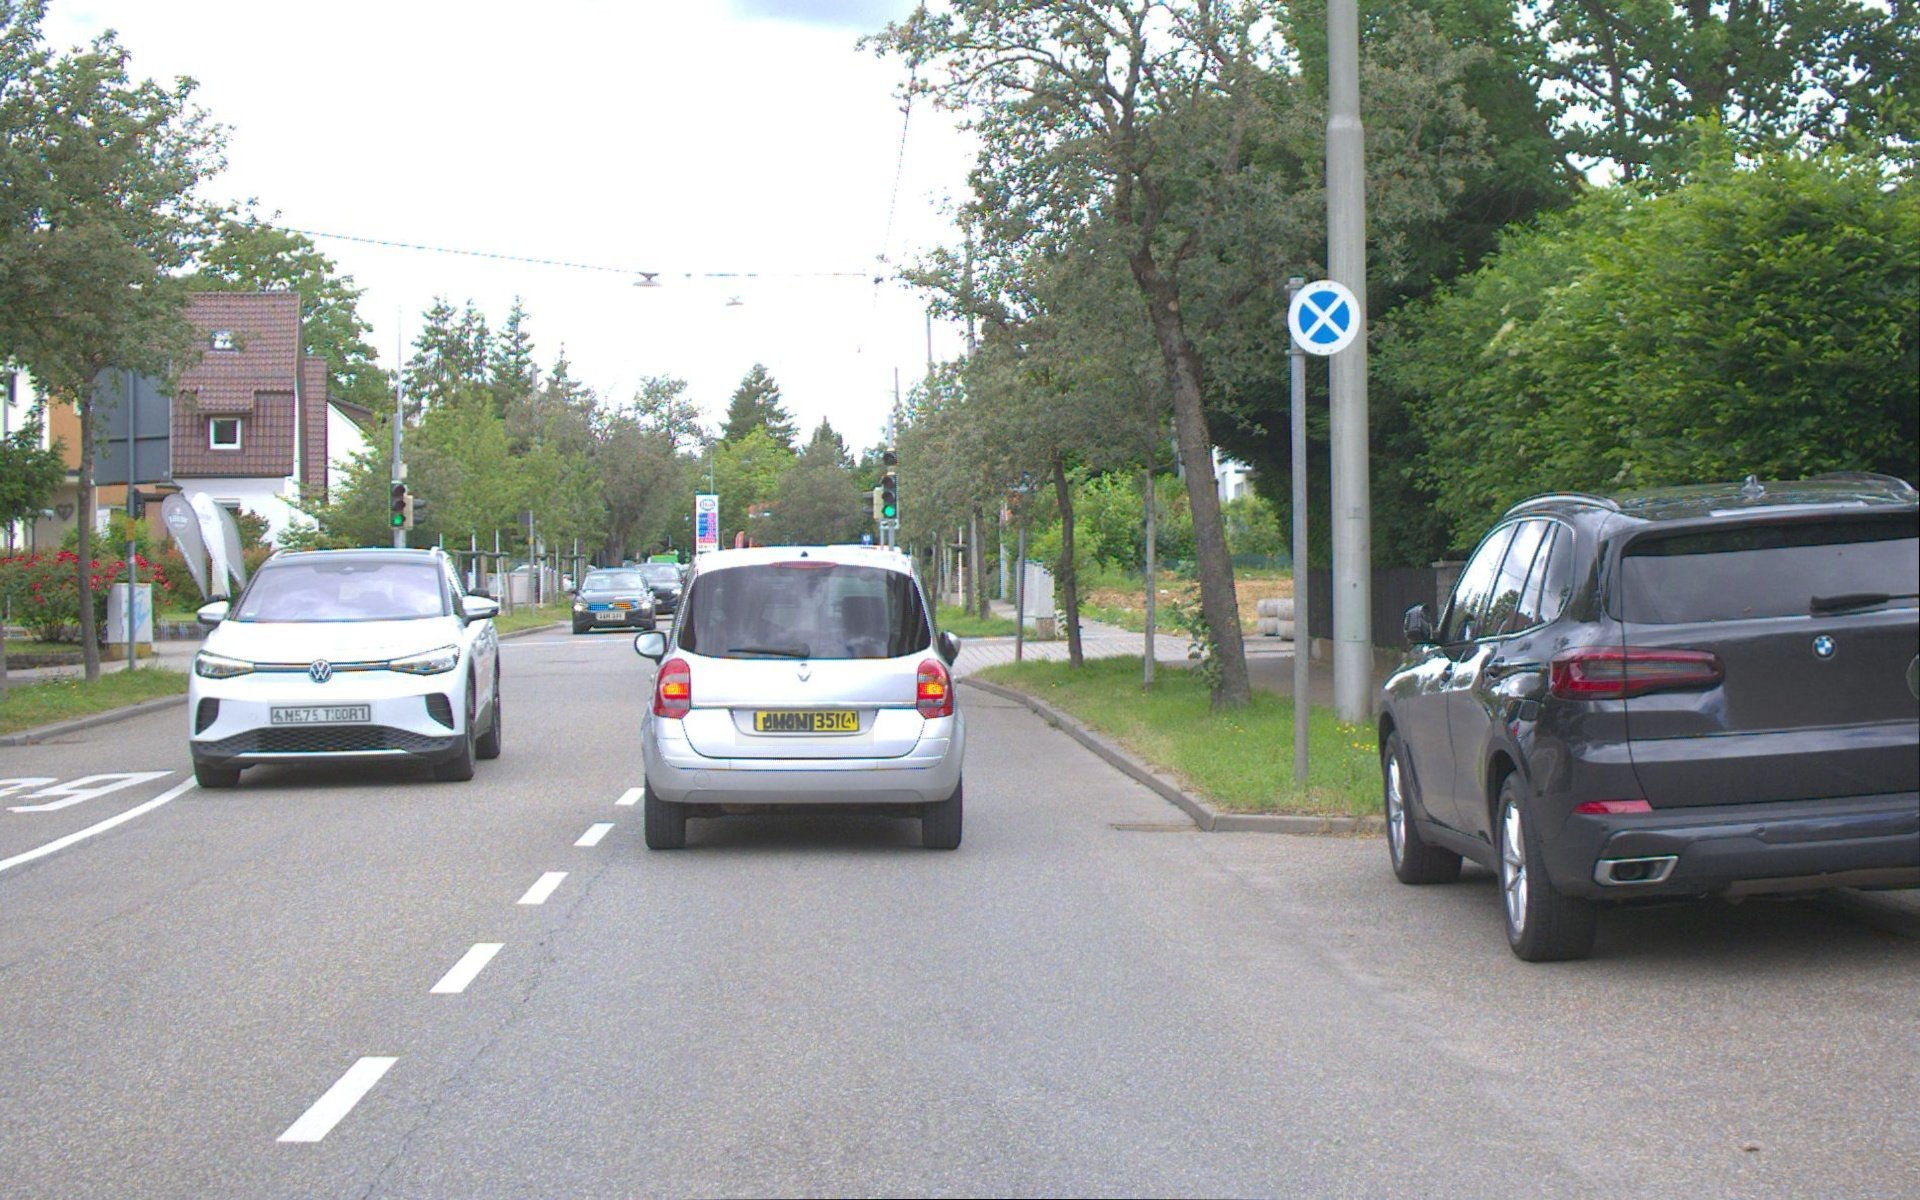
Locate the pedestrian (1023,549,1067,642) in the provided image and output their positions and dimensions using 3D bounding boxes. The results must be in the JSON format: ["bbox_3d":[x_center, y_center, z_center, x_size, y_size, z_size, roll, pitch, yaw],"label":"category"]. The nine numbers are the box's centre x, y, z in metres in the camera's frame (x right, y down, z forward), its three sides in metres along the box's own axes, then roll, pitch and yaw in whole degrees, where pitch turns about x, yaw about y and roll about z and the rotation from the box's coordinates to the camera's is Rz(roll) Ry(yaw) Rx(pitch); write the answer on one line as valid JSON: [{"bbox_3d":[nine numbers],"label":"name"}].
[{"bbox_3d":[1.527,-0.085,61.566,0.705,1.641,0.773,-1,1,-2],"label":"pedestrian"}]

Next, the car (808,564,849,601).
[{"bbox_3d":[-6.087,-0.808,159.238,1.829,1.670,3.574,-1,1,-1],"label":"car"}]

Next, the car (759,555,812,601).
[{"bbox_3d":[-6.497,-0.836,128.062,1.829,1.670,3.574,-1,1,-1],"label":"car"}]

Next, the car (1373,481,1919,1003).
[{"bbox_3d":[2.888,0.472,13.694,1.812,1.737,4.000,-2,0,-2],"label":"car"}]

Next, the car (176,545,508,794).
[{"bbox_3d":[-4.285,0.451,24.402,1.905,1.612,4.000,0,0,-4],"label":"car"}]

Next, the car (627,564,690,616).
[{"bbox_3d":[-8.378,-0.263,95.715,1.721,1.406,4.001,1,0,-4],"label":"car"}]

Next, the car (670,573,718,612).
[{"bbox_3d":[-9.772,-0.265,126.421,1.721,1.406,4.001,1,0,-4],"label":"car"}]

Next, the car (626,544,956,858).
[{"bbox_3d":[-0.862,0.504,19.123,1.630,1.551,4.000,1,0,-1],"label":"car"}]

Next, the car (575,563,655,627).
[{"bbox_3d":[-7.878,-0.113,78.668,1.721,1.406,4.001,1,0,-4],"label":"car"}]
